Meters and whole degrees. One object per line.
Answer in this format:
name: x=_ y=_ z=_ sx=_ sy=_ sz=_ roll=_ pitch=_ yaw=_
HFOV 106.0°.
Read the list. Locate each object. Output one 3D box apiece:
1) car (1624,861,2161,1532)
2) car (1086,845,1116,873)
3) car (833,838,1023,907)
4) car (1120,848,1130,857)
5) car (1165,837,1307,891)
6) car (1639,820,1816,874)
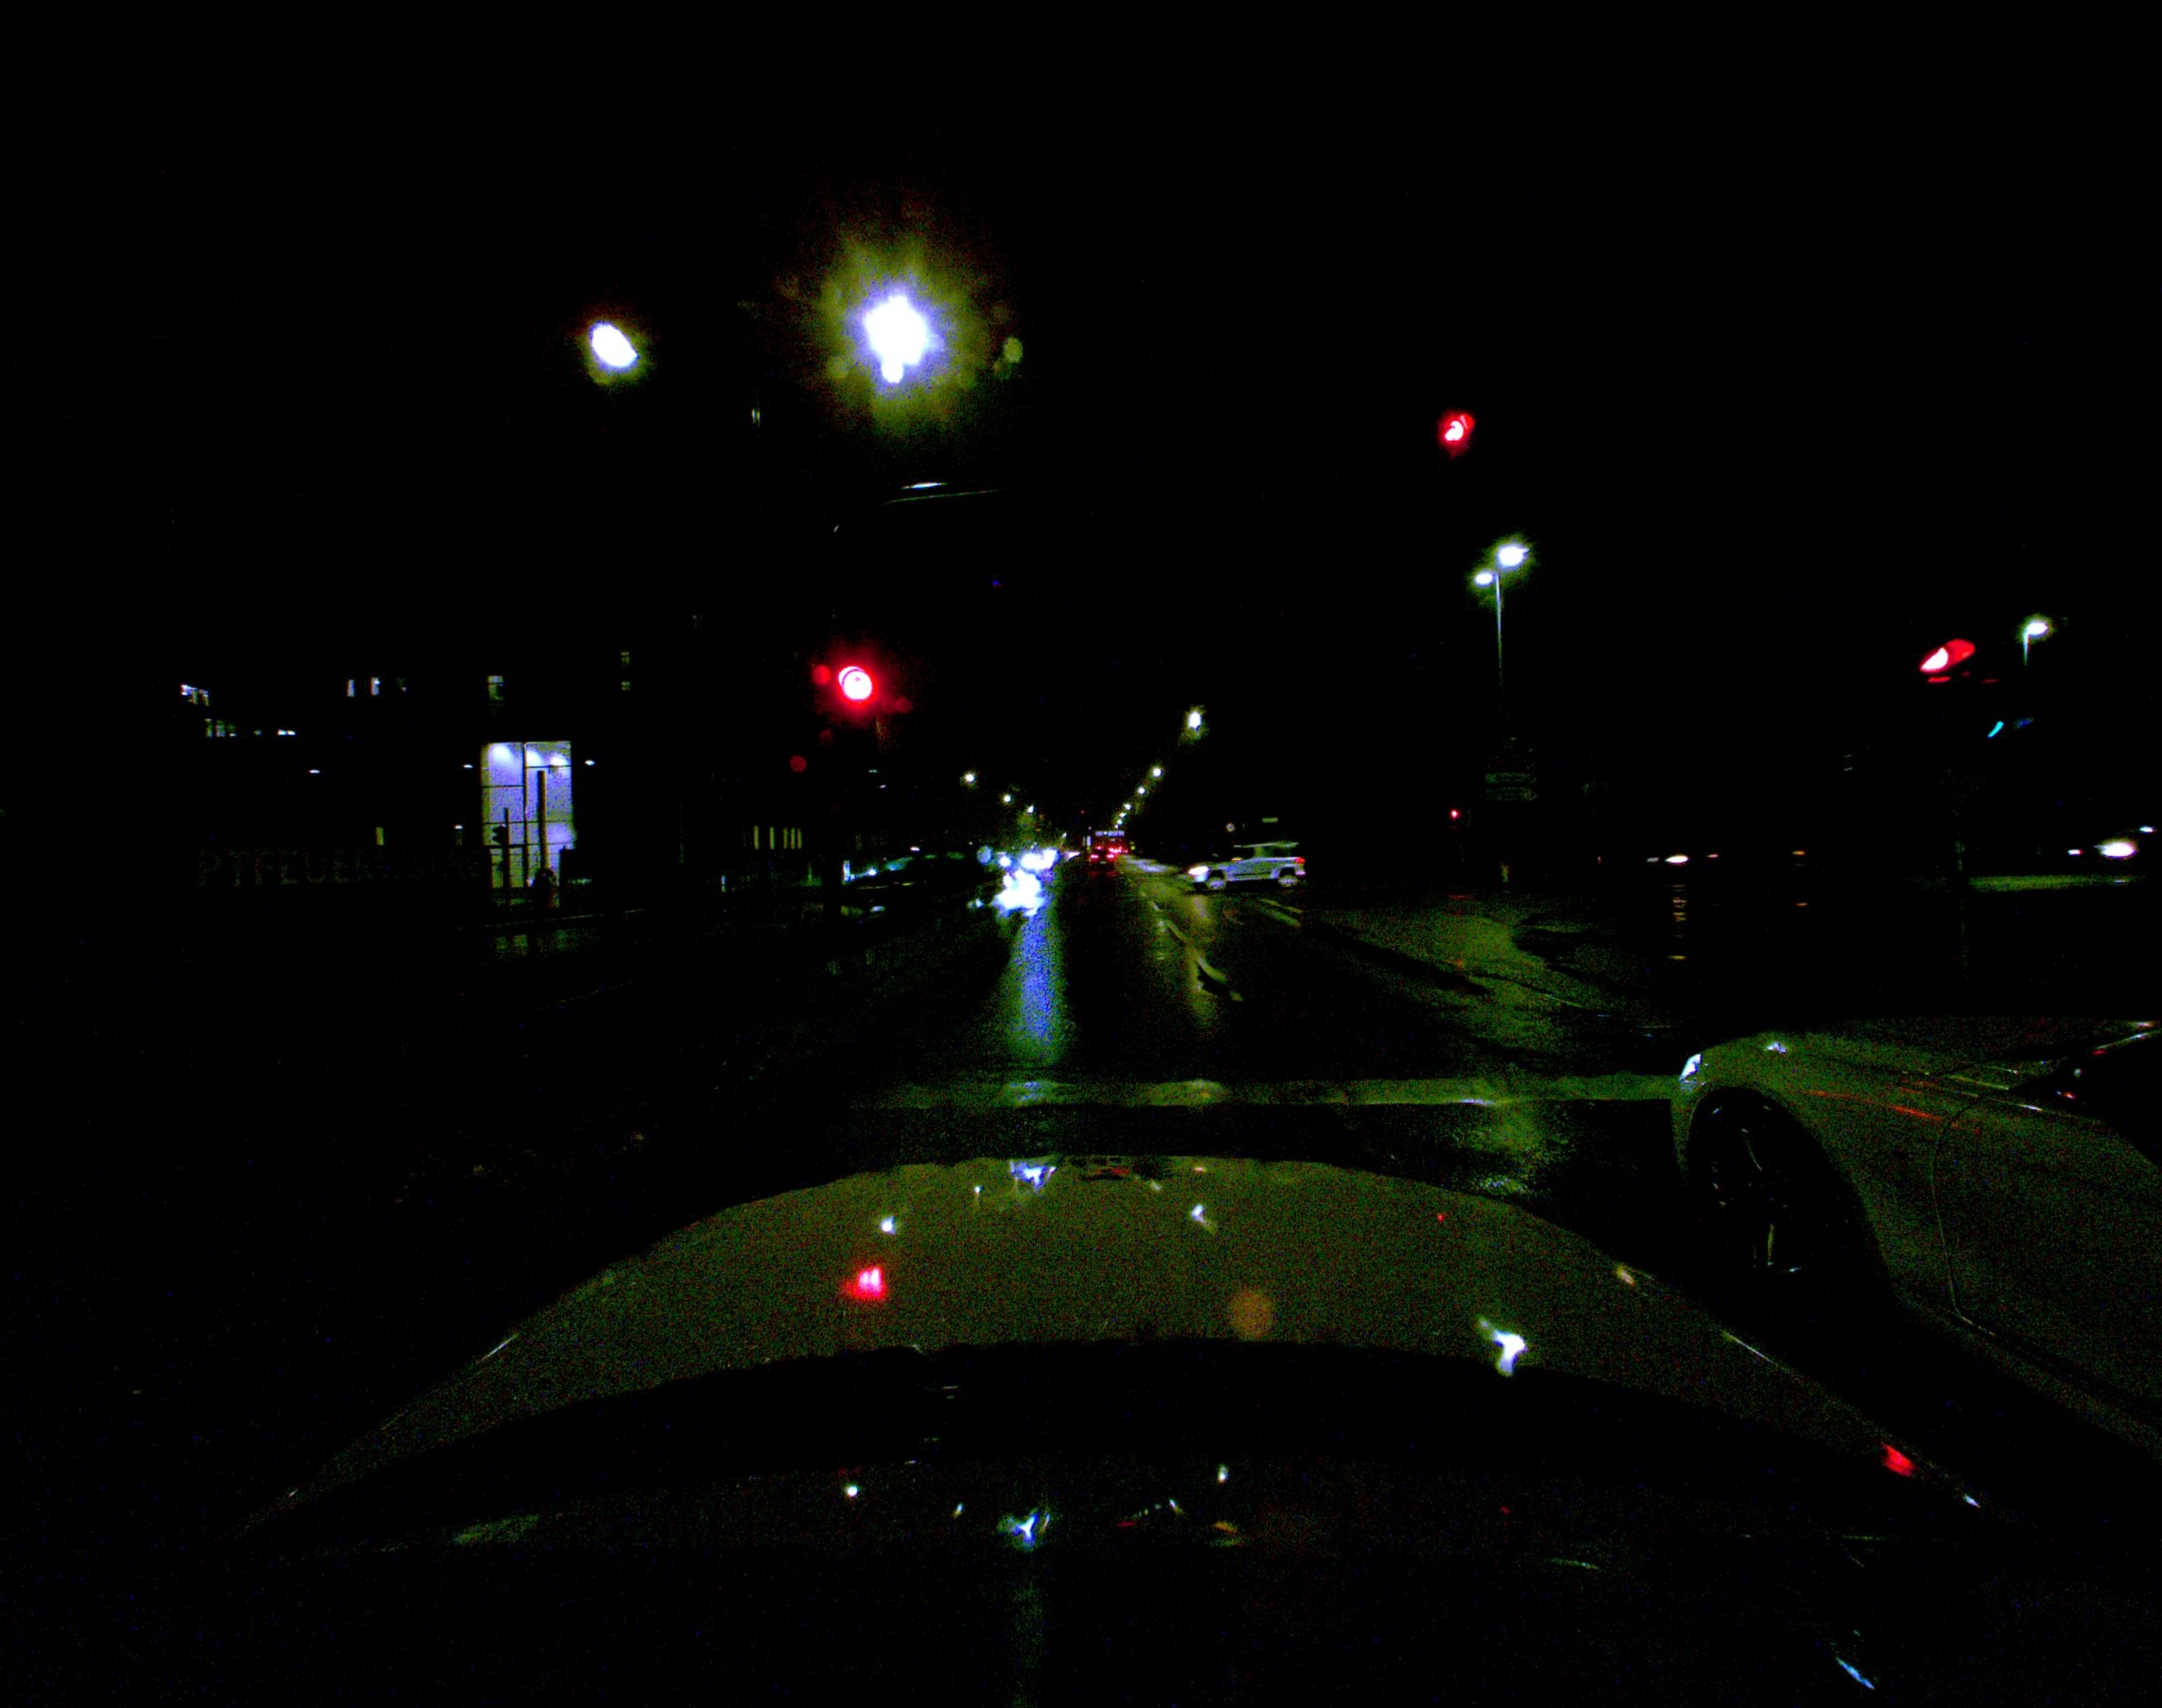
car: x=3.123 y=0.722 z=1.306 sx=1.710 sy=1.404 sz=4.351 roll=0 pitch=-1 yaw=2
car: x=1.470 y=0.397 z=60.937 sx=1.988 sy=2.014 sz=4.629 roll=0 pitch=-1 yaw=-1
car: x=-4.241 y=0.478 z=22.951 sx=4.938 sy=1.741 sz=1.950 roll=0 pitch=-1 yaw=-35
car: x=8.435 y=-0.323 z=156.346 sx=1.986 sy=1.759 sz=4.001 roll=0 pitch=-1 yaw=2
car: x=5.253 y=0.316 z=27.812 sx=4.385 sy=1.741 sz=1.903 roll=0 pitch=-1 yaw=-11
car: x=22.050 y=-0.228 z=27.927 sx=4.469 sy=1.749 sz=1.863 roll=0 pitch=-1 yaw=6
